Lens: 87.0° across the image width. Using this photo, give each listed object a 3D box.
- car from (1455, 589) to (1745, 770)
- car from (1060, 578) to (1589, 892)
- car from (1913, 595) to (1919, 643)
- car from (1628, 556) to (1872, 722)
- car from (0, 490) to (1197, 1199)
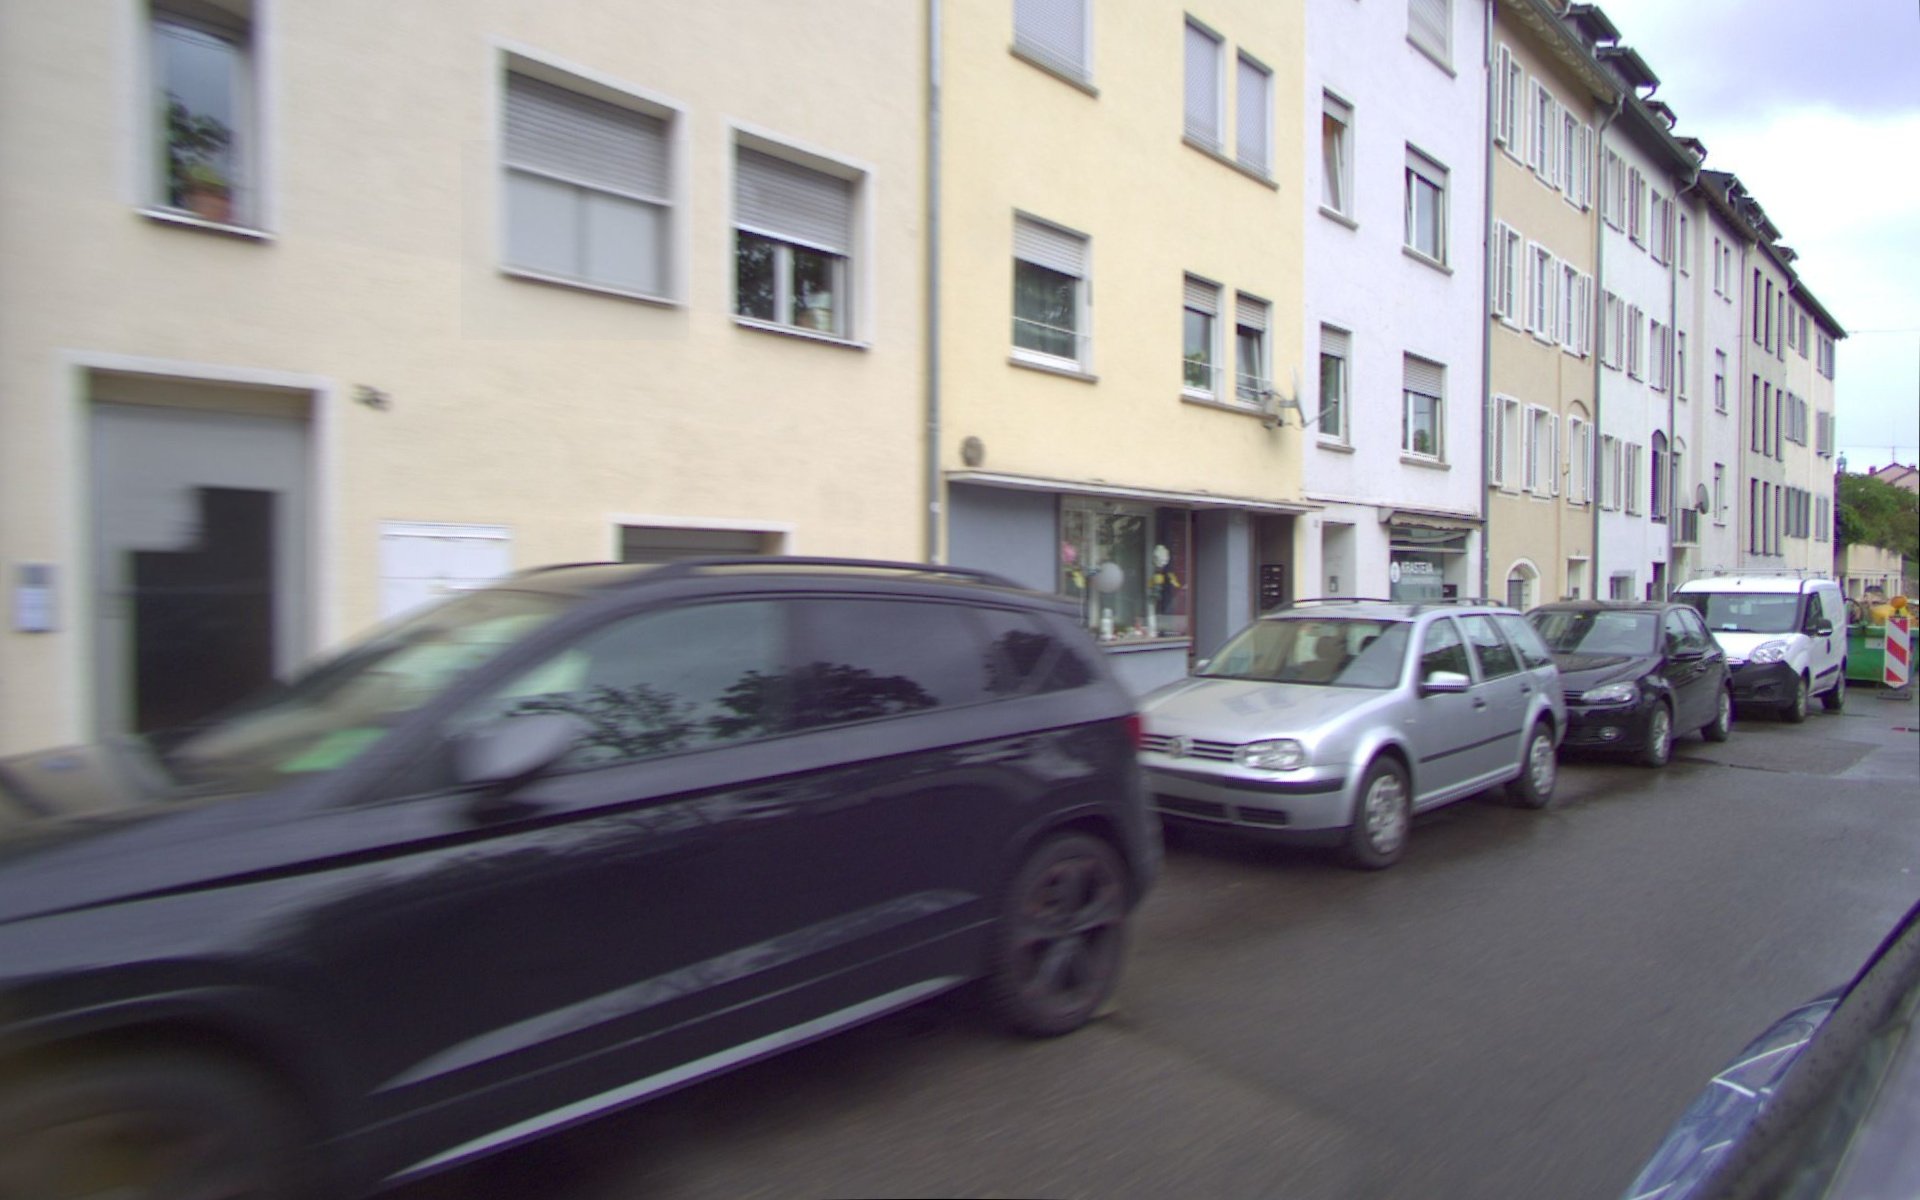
[{"bbox_3d":[6.494,0.654,10.142,3.441,1.489,1.579,0,0,-42],"label":"car"},{"bbox_3d":[2.661,0.644,6.866,4.027,1.519,1.666,0,1,-42],"label":"car"},{"bbox_3d":[32.730,0.625,33.309,3.932,1.544,1.717,1,-1,-43],"label":"car"},{"bbox_3d":[10.943,0.451,13.921,4.163,1.948,1.821,0,0,-40],"label":"car"},{"bbox_3d":[-1.151,0.606,3.139,4.027,1.593,1.666,0,1,-42],"label":"car"}]
